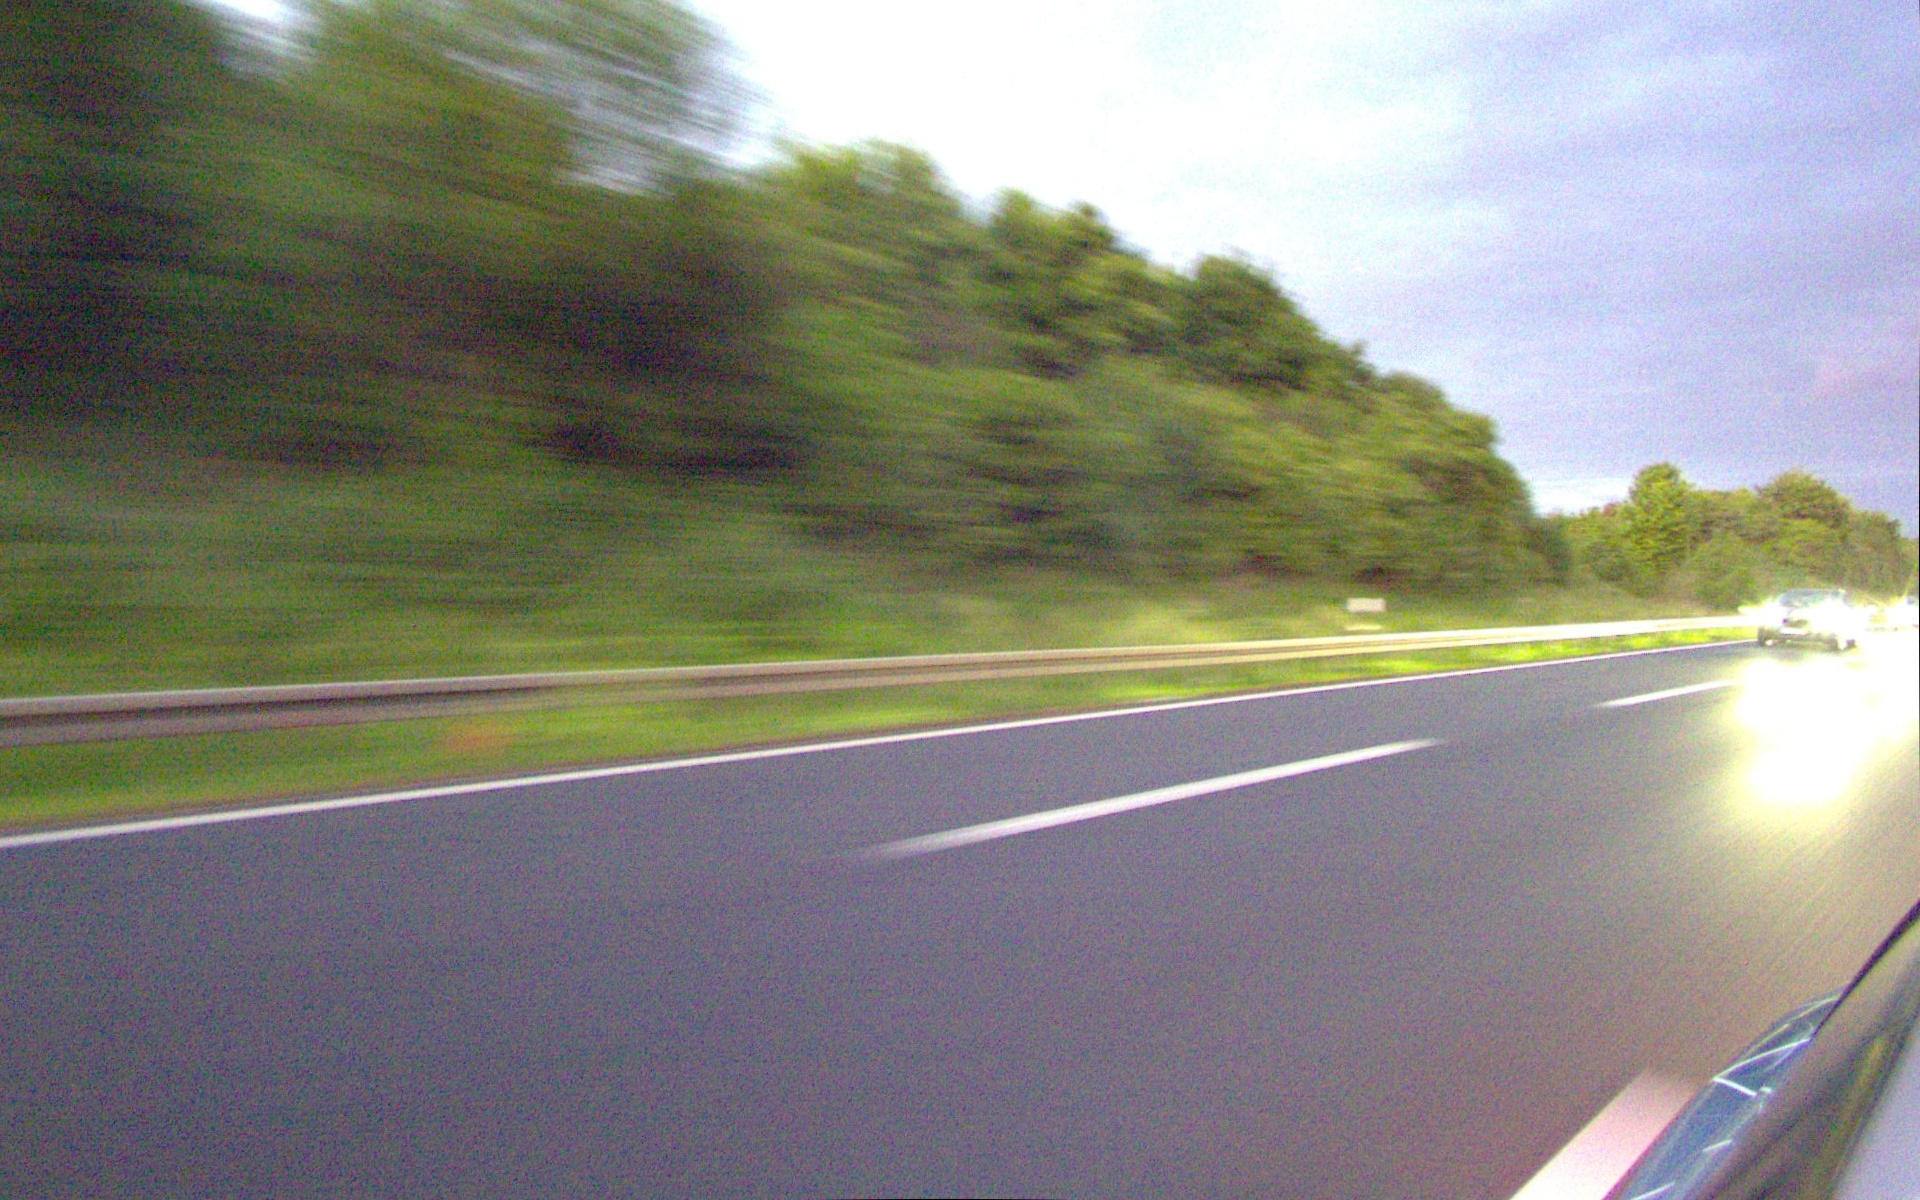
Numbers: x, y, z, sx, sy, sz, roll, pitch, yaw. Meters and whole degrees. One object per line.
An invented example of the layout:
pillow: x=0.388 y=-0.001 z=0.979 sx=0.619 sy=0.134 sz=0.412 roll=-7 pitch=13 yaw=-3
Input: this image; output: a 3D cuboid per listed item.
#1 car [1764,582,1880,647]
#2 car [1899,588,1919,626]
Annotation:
car: x=25.123 y=0.349 z=29.422 sx=5.070 sy=1.665 sz=1.802 roll=-1 pitch=3 yaw=-41
car: x=40.385 y=0.263 z=41.931 sx=5.031 sy=1.511 sz=1.799 roll=-1 pitch=0 yaw=-43
